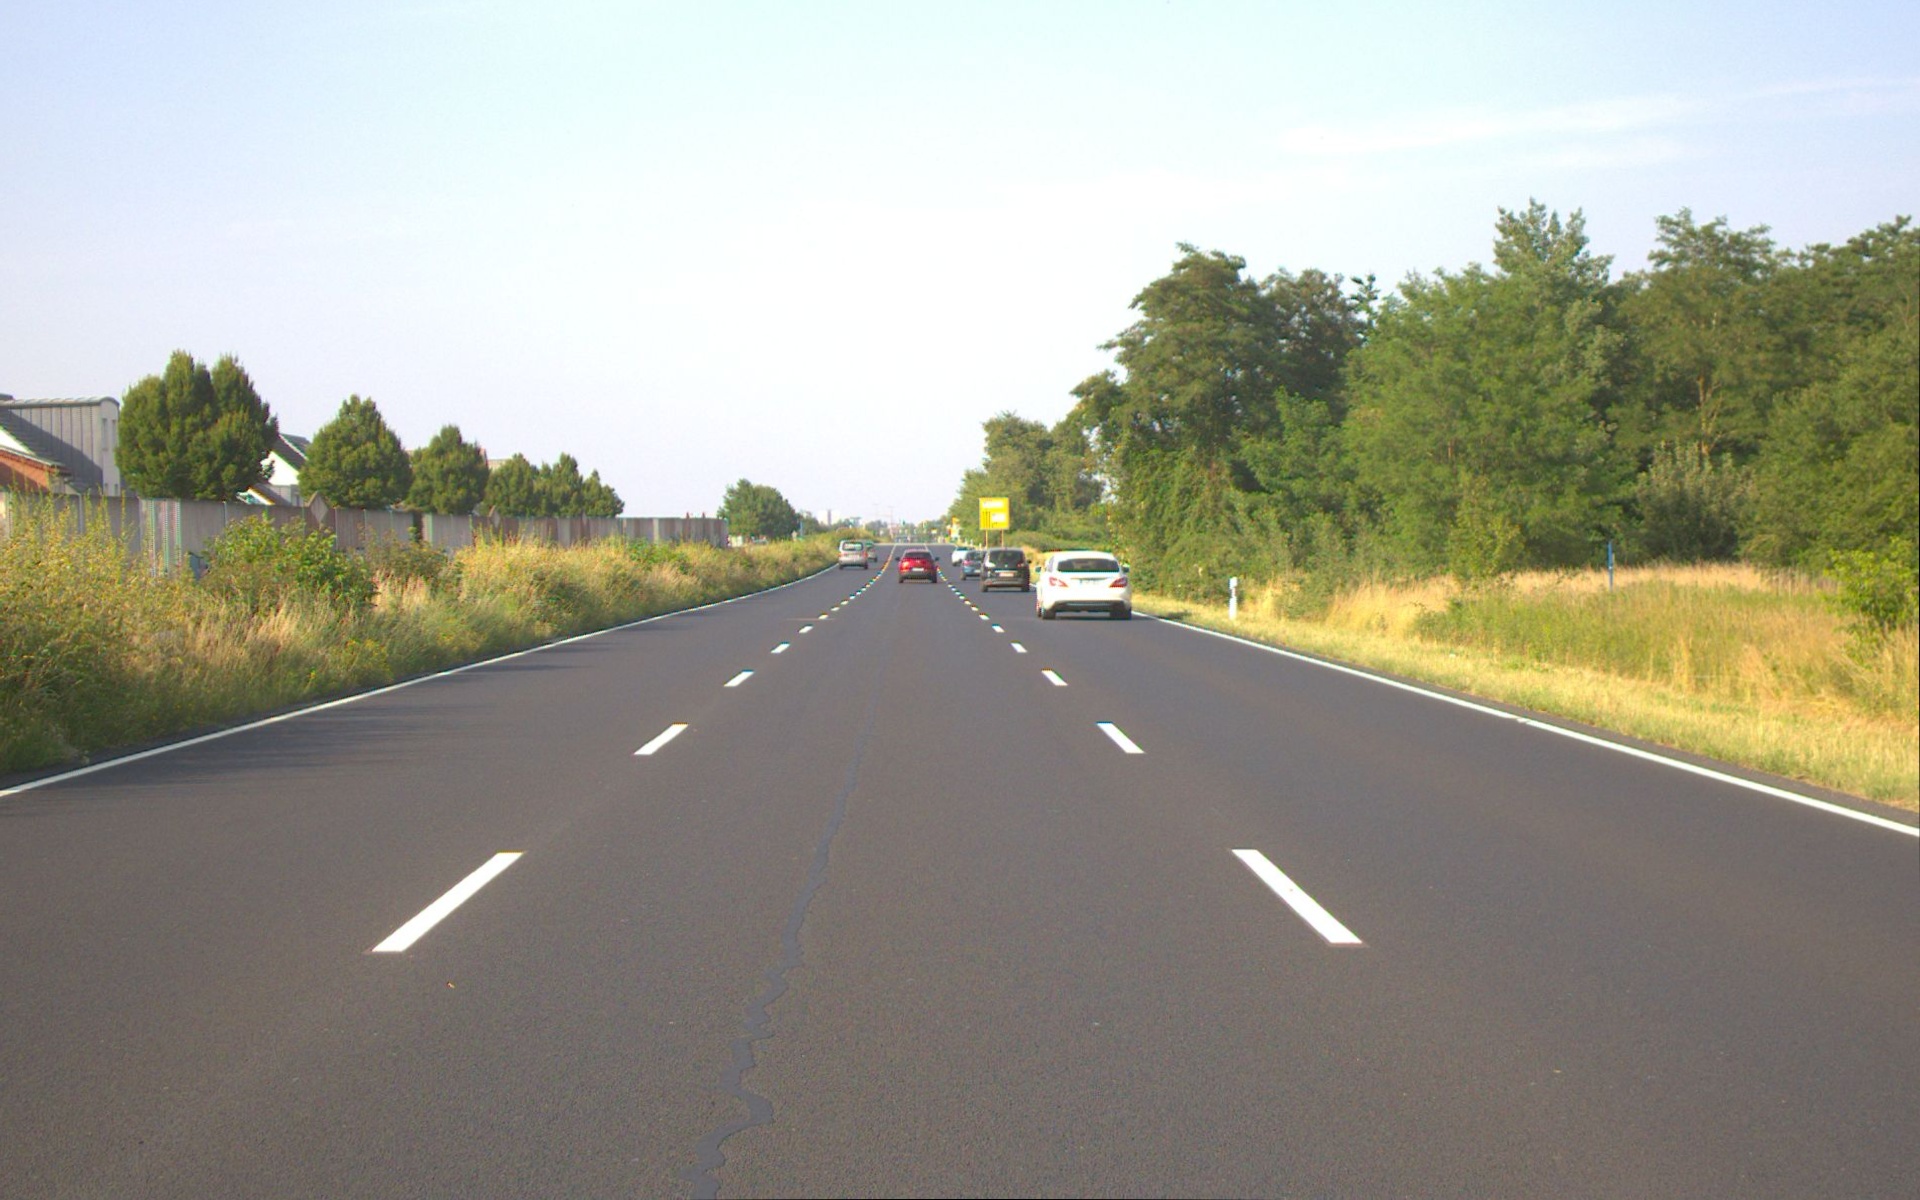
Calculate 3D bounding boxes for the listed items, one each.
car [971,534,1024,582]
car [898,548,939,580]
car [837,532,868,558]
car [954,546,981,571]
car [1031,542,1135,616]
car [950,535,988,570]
[{"bbox_3d":[1.378,-1.556,128.090,1.828,1.722,4.000,0,0,-1],"label":"car"},{"bbox_3d":[-1.929,-1.663,157.465,1.812,1.431,3.859,0,0,-2],"label":"car"},{"bbox_3d":[-6.944,-3.551,222.539,1.758,1.612,4.000,0,0,1],"label":"car"},{"bbox_3d":[0.530,-2.907,239.736,1.847,1.744,4.000,0,0,0],"label":"car"},{"bbox_3d":[2.570,-0.449,72.942,1.993,1.511,4.000,0,0,-1],"label":"car"},{"bbox_3d":[0.429,-2.342,170.639,1.834,1.711,3.862,0,0,-1],"label":"car"}]
